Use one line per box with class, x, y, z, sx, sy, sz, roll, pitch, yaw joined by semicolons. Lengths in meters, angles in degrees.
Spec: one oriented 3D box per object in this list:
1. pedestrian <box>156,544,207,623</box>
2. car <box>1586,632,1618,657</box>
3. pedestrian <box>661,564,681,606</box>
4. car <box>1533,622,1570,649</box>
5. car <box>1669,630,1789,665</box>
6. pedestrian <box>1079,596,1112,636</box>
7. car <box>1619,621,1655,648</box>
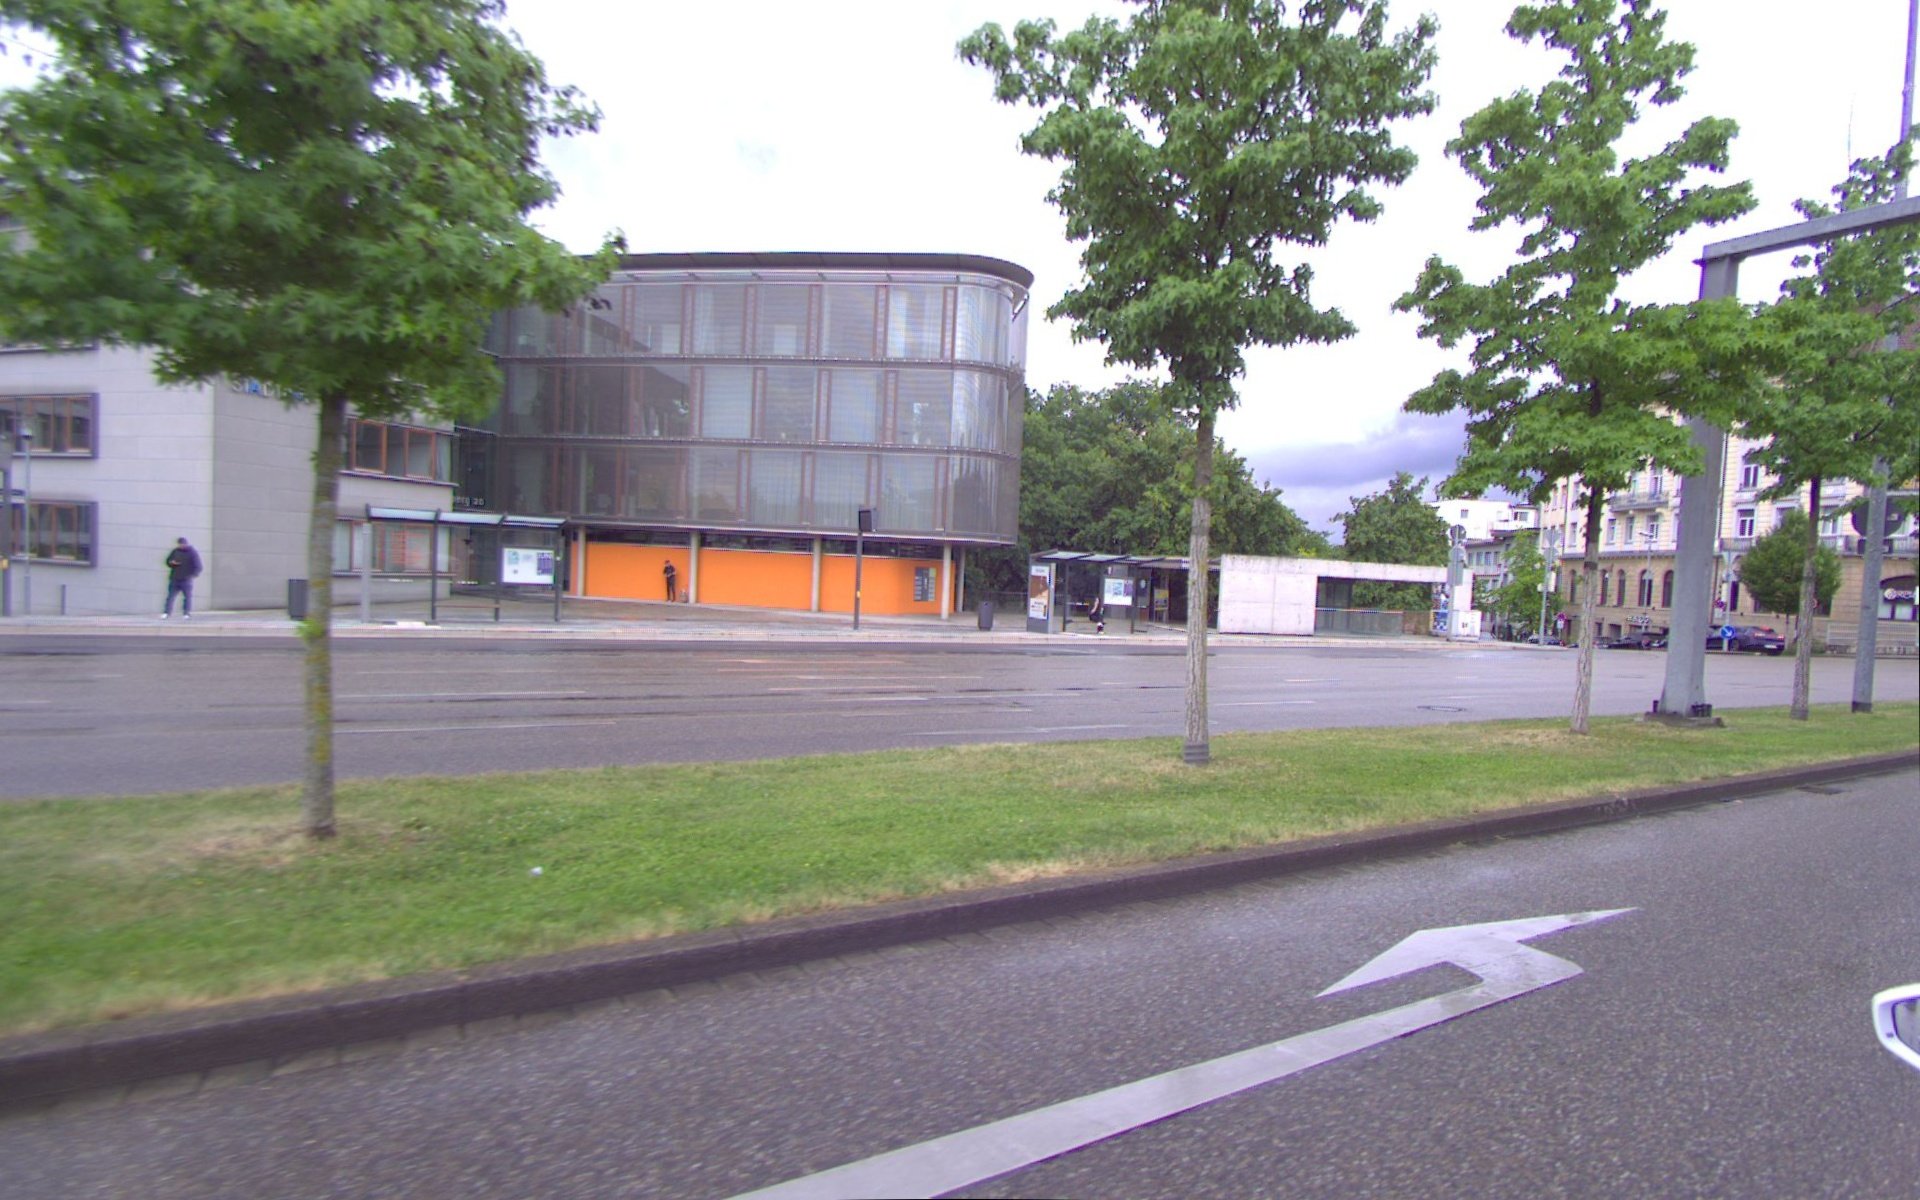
pedestrian;-17.264;-0.353;22.283;0.753;1.706;0.472;2;0;-25
car;44.340;3.028;69.377;1.633;1.626;3.247;-1;-1;29
pedestrian;-11.987;-0.626;41.621;0.630;1.706;0.475;2;0;0
car;40.765;2.436;69.249;1.807;1.649;3.702;3;1;25
car;37.626;2.292;49.271;1.795;1.591;4.382;1;-1;-21
pedestrian;4.722;0.554;35.010;0.834;1.285;0.977;2;4;-10
car;43.396;2.183;64.438;1.634;1.626;3.246;-1;-1;30
